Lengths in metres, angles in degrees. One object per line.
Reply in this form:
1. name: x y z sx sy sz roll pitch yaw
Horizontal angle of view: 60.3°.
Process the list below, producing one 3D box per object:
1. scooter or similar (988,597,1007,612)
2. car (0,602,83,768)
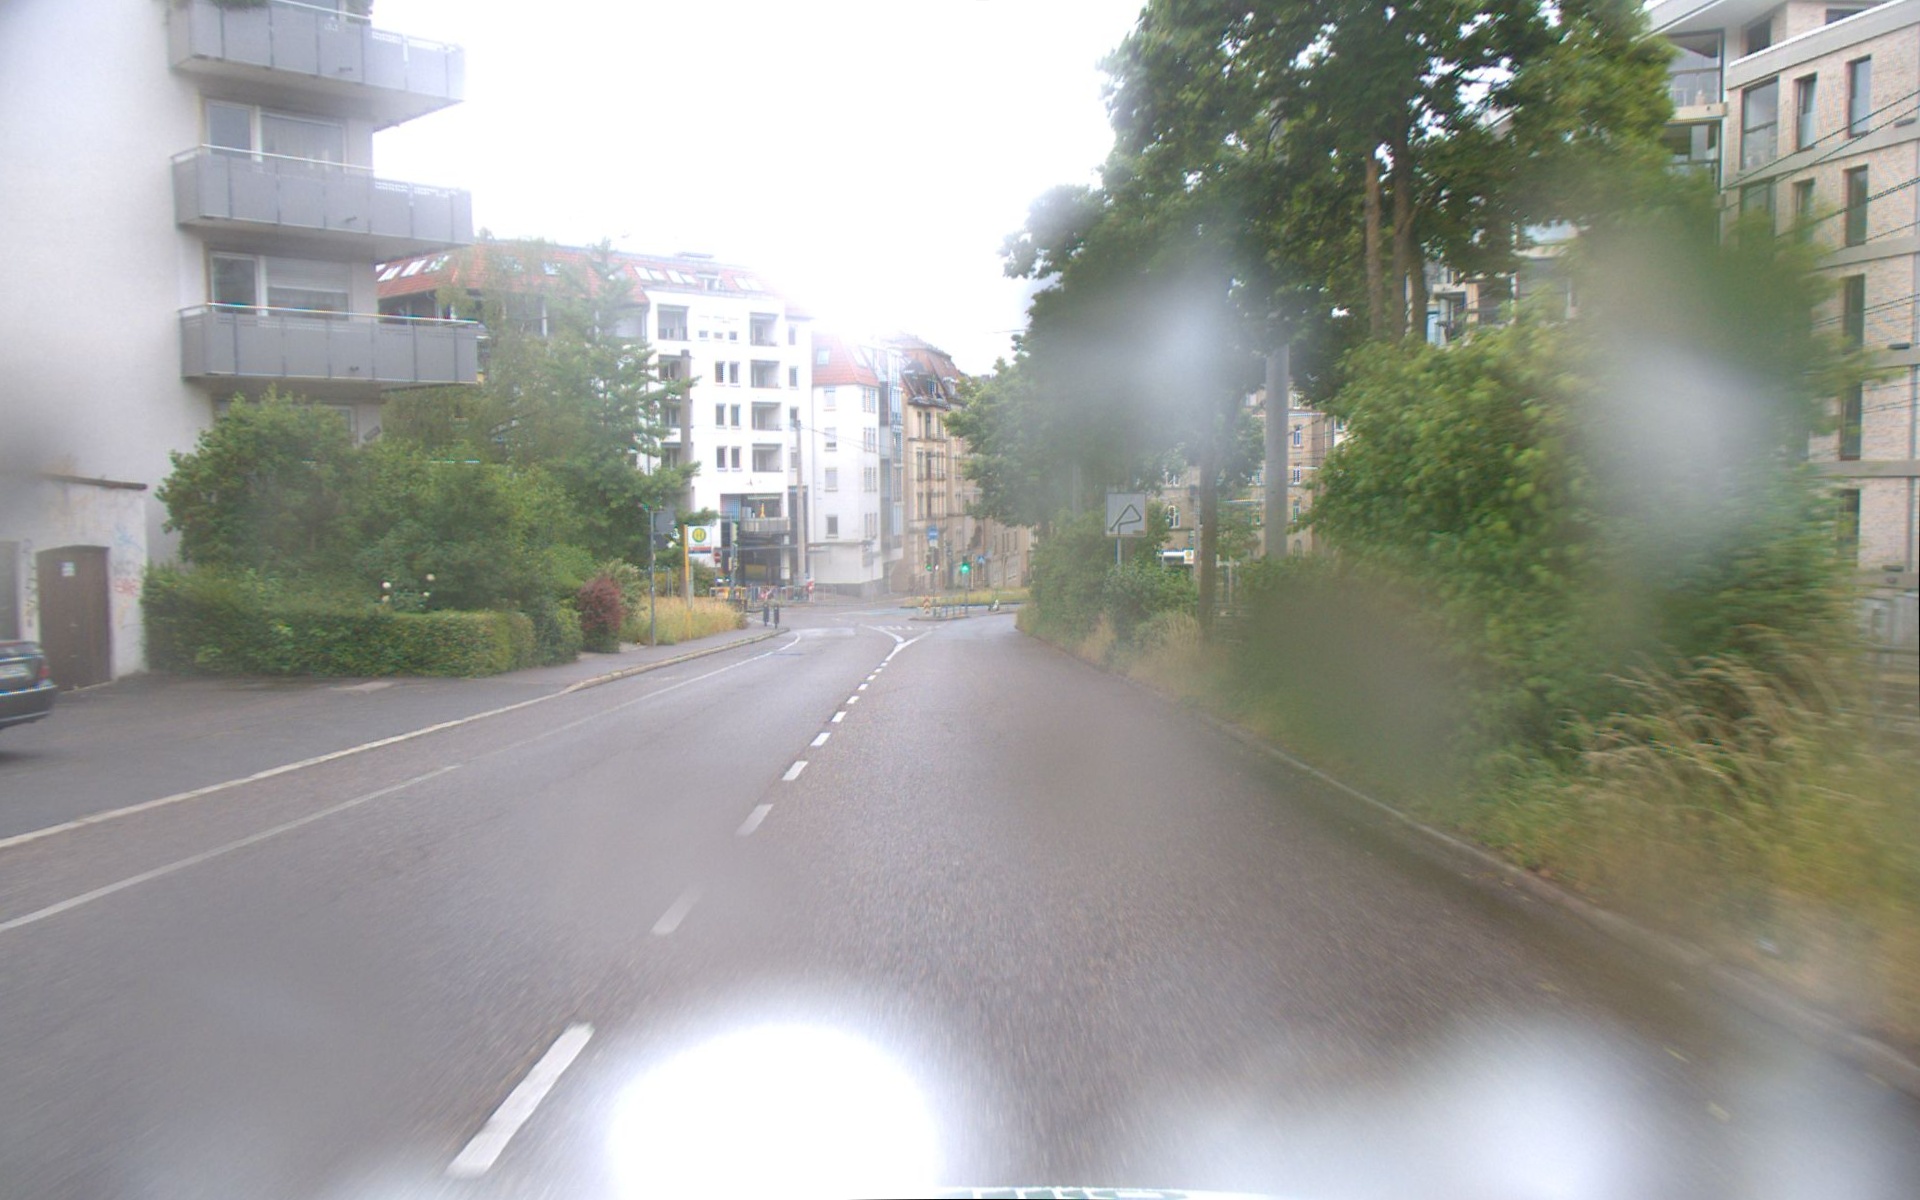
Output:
1. scooter or similar: 2.013 0.231 88.479 0.475 0.775 1.328 -1 0 27
2. car: -10.204 0.757 14.970 3.556 1.431 1.784 0 1 1
